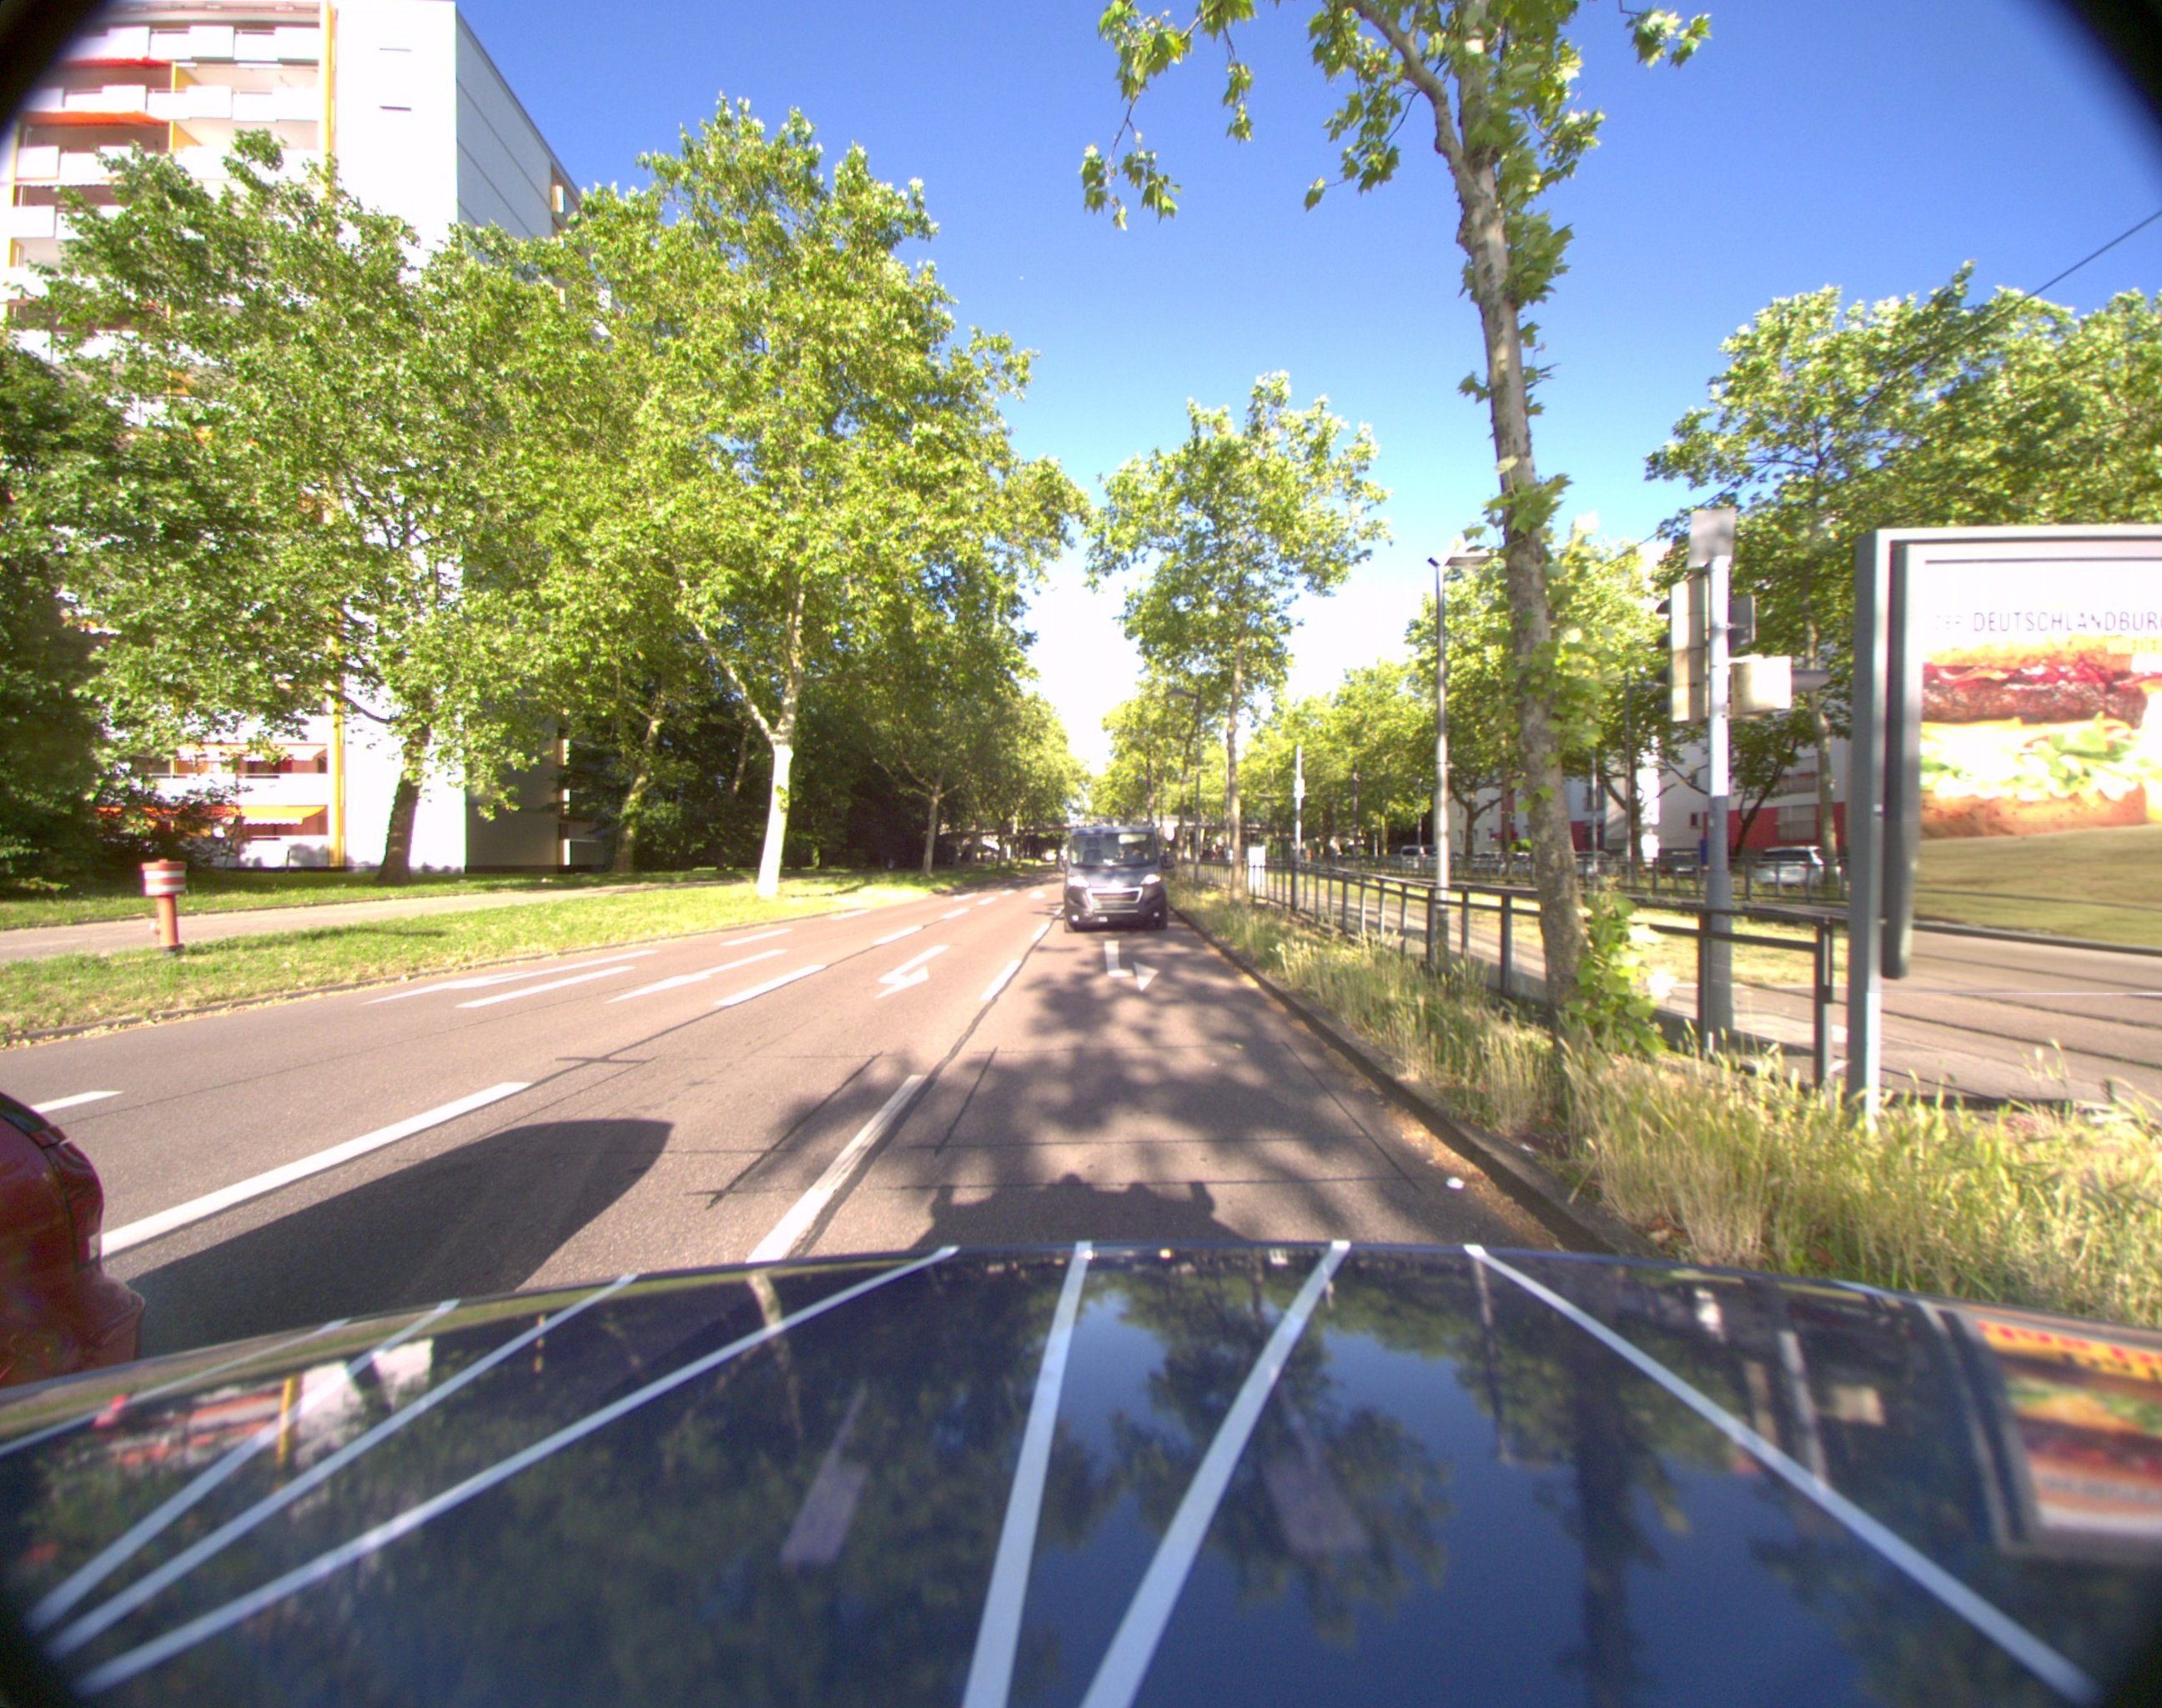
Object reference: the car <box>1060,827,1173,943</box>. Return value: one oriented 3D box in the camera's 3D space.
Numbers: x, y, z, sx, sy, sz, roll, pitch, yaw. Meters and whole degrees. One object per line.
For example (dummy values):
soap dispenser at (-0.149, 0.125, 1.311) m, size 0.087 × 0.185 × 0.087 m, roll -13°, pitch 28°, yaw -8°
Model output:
car at (0.699, 0.564, 16.646) m, size 2.040 × 2.102 × 5.113 m, roll -1°, pitch 0°, yaw 1°

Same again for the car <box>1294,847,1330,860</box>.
car at (27.201, -0.063, 89.420) m, size 4.376 × 1.367 × 1.919 m, roll -1°, pitch 1°, yaw -39°

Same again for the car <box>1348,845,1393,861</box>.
car at (26.793, -0.073, 70.295) m, size 4.376 × 1.367 × 1.919 m, roll -1°, pitch 1°, yaw -39°

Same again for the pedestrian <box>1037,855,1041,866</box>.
pedestrian at (-5.765, 0.928, 105.206) m, size 0.418 × 1.454 × 0.398 m, roll -1°, pitch 1°, yaw -18°

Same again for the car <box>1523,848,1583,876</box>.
car at (25.809, 0.427, 41.510) m, size 3.689 × 1.440 × 1.645 m, roll -1°, pitch 1°, yaw -39°

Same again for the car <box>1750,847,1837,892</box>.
car at (25.054, 0.493, 26.678) m, size 3.689 × 1.425 × 1.683 m, roll -1°, pitch 1°, yaw -38°

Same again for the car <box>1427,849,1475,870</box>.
car at (26.244, 0.345, 53.890) m, size 3.689 × 1.388 × 1.645 m, roll -1°, pitch 1°, yaw -39°

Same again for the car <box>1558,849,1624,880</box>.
car at (25.328, 0.499, 37.682) m, size 3.689 × 1.384 × 1.645 m, roll -1°, pitch 1°, yaw -38°

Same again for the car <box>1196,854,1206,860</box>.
car at (25.789, 0.623, 163.127) m, size 1.672 × 1.351 × 3.295 m, roll -1°, pitch 0°, yaw 1°

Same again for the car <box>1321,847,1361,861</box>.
car at (27.242, 0.021, 79.567) m, size 4.376 × 1.367 × 1.919 m, roll -1°, pitch 1°, yaw -39°

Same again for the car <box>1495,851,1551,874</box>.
car at (26.199, 0.480, 44.952) m, size 3.689 × 1.234 × 1.645 m, roll -1°, pitch 1°, yaw -39°

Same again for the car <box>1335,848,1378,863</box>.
car at (26.588, 0.096, 73.270) m, size 4.376 × 1.367 × 1.919 m, roll -1°, pitch 1°, yaw -39°

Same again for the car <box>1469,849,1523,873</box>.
car at (25.956, 0.413, 47.487) m, size 3.689 × 1.440 × 1.645 m, roll -1°, pitch 1°, yaw -39°

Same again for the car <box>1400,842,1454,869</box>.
car at (25.960, 0.083, 56.984) m, size 4.376 × 1.873 × 1.919 m, roll -1°, pitch 1°, yaw -39°

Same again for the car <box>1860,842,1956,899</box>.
car at (25.016, 0.460, 22.952) m, size 3.689 × 1.558 × 1.683 m, roll -1°, pitch 1°, yaw -38°
